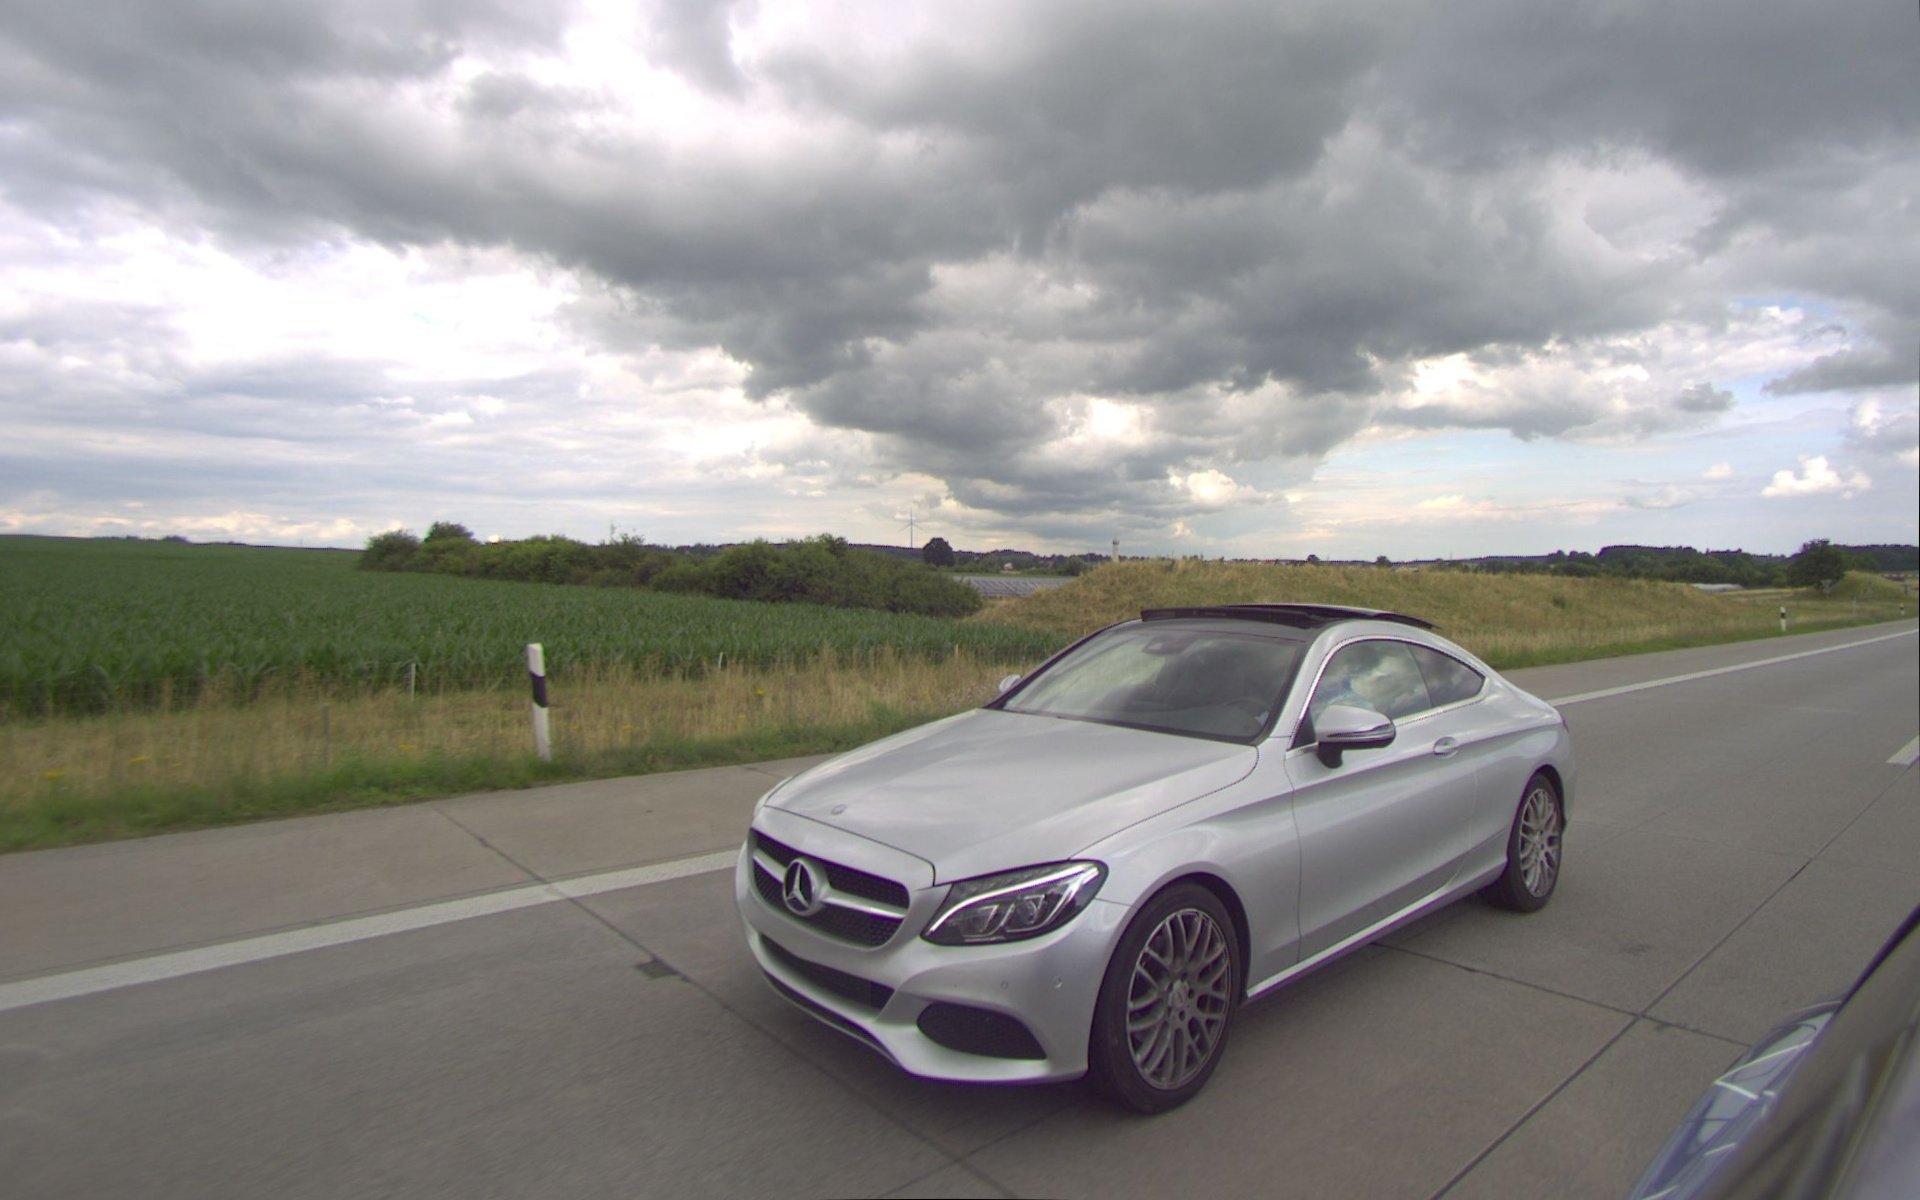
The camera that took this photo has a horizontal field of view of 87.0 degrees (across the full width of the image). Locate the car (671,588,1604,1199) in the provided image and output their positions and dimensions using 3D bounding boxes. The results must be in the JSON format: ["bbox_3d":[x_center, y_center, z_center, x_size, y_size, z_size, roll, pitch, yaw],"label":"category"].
[{"bbox_3d":[1.083,0.668,4.383,4.148,1.421,1.792,-1,1,-41],"label":"car"}]
